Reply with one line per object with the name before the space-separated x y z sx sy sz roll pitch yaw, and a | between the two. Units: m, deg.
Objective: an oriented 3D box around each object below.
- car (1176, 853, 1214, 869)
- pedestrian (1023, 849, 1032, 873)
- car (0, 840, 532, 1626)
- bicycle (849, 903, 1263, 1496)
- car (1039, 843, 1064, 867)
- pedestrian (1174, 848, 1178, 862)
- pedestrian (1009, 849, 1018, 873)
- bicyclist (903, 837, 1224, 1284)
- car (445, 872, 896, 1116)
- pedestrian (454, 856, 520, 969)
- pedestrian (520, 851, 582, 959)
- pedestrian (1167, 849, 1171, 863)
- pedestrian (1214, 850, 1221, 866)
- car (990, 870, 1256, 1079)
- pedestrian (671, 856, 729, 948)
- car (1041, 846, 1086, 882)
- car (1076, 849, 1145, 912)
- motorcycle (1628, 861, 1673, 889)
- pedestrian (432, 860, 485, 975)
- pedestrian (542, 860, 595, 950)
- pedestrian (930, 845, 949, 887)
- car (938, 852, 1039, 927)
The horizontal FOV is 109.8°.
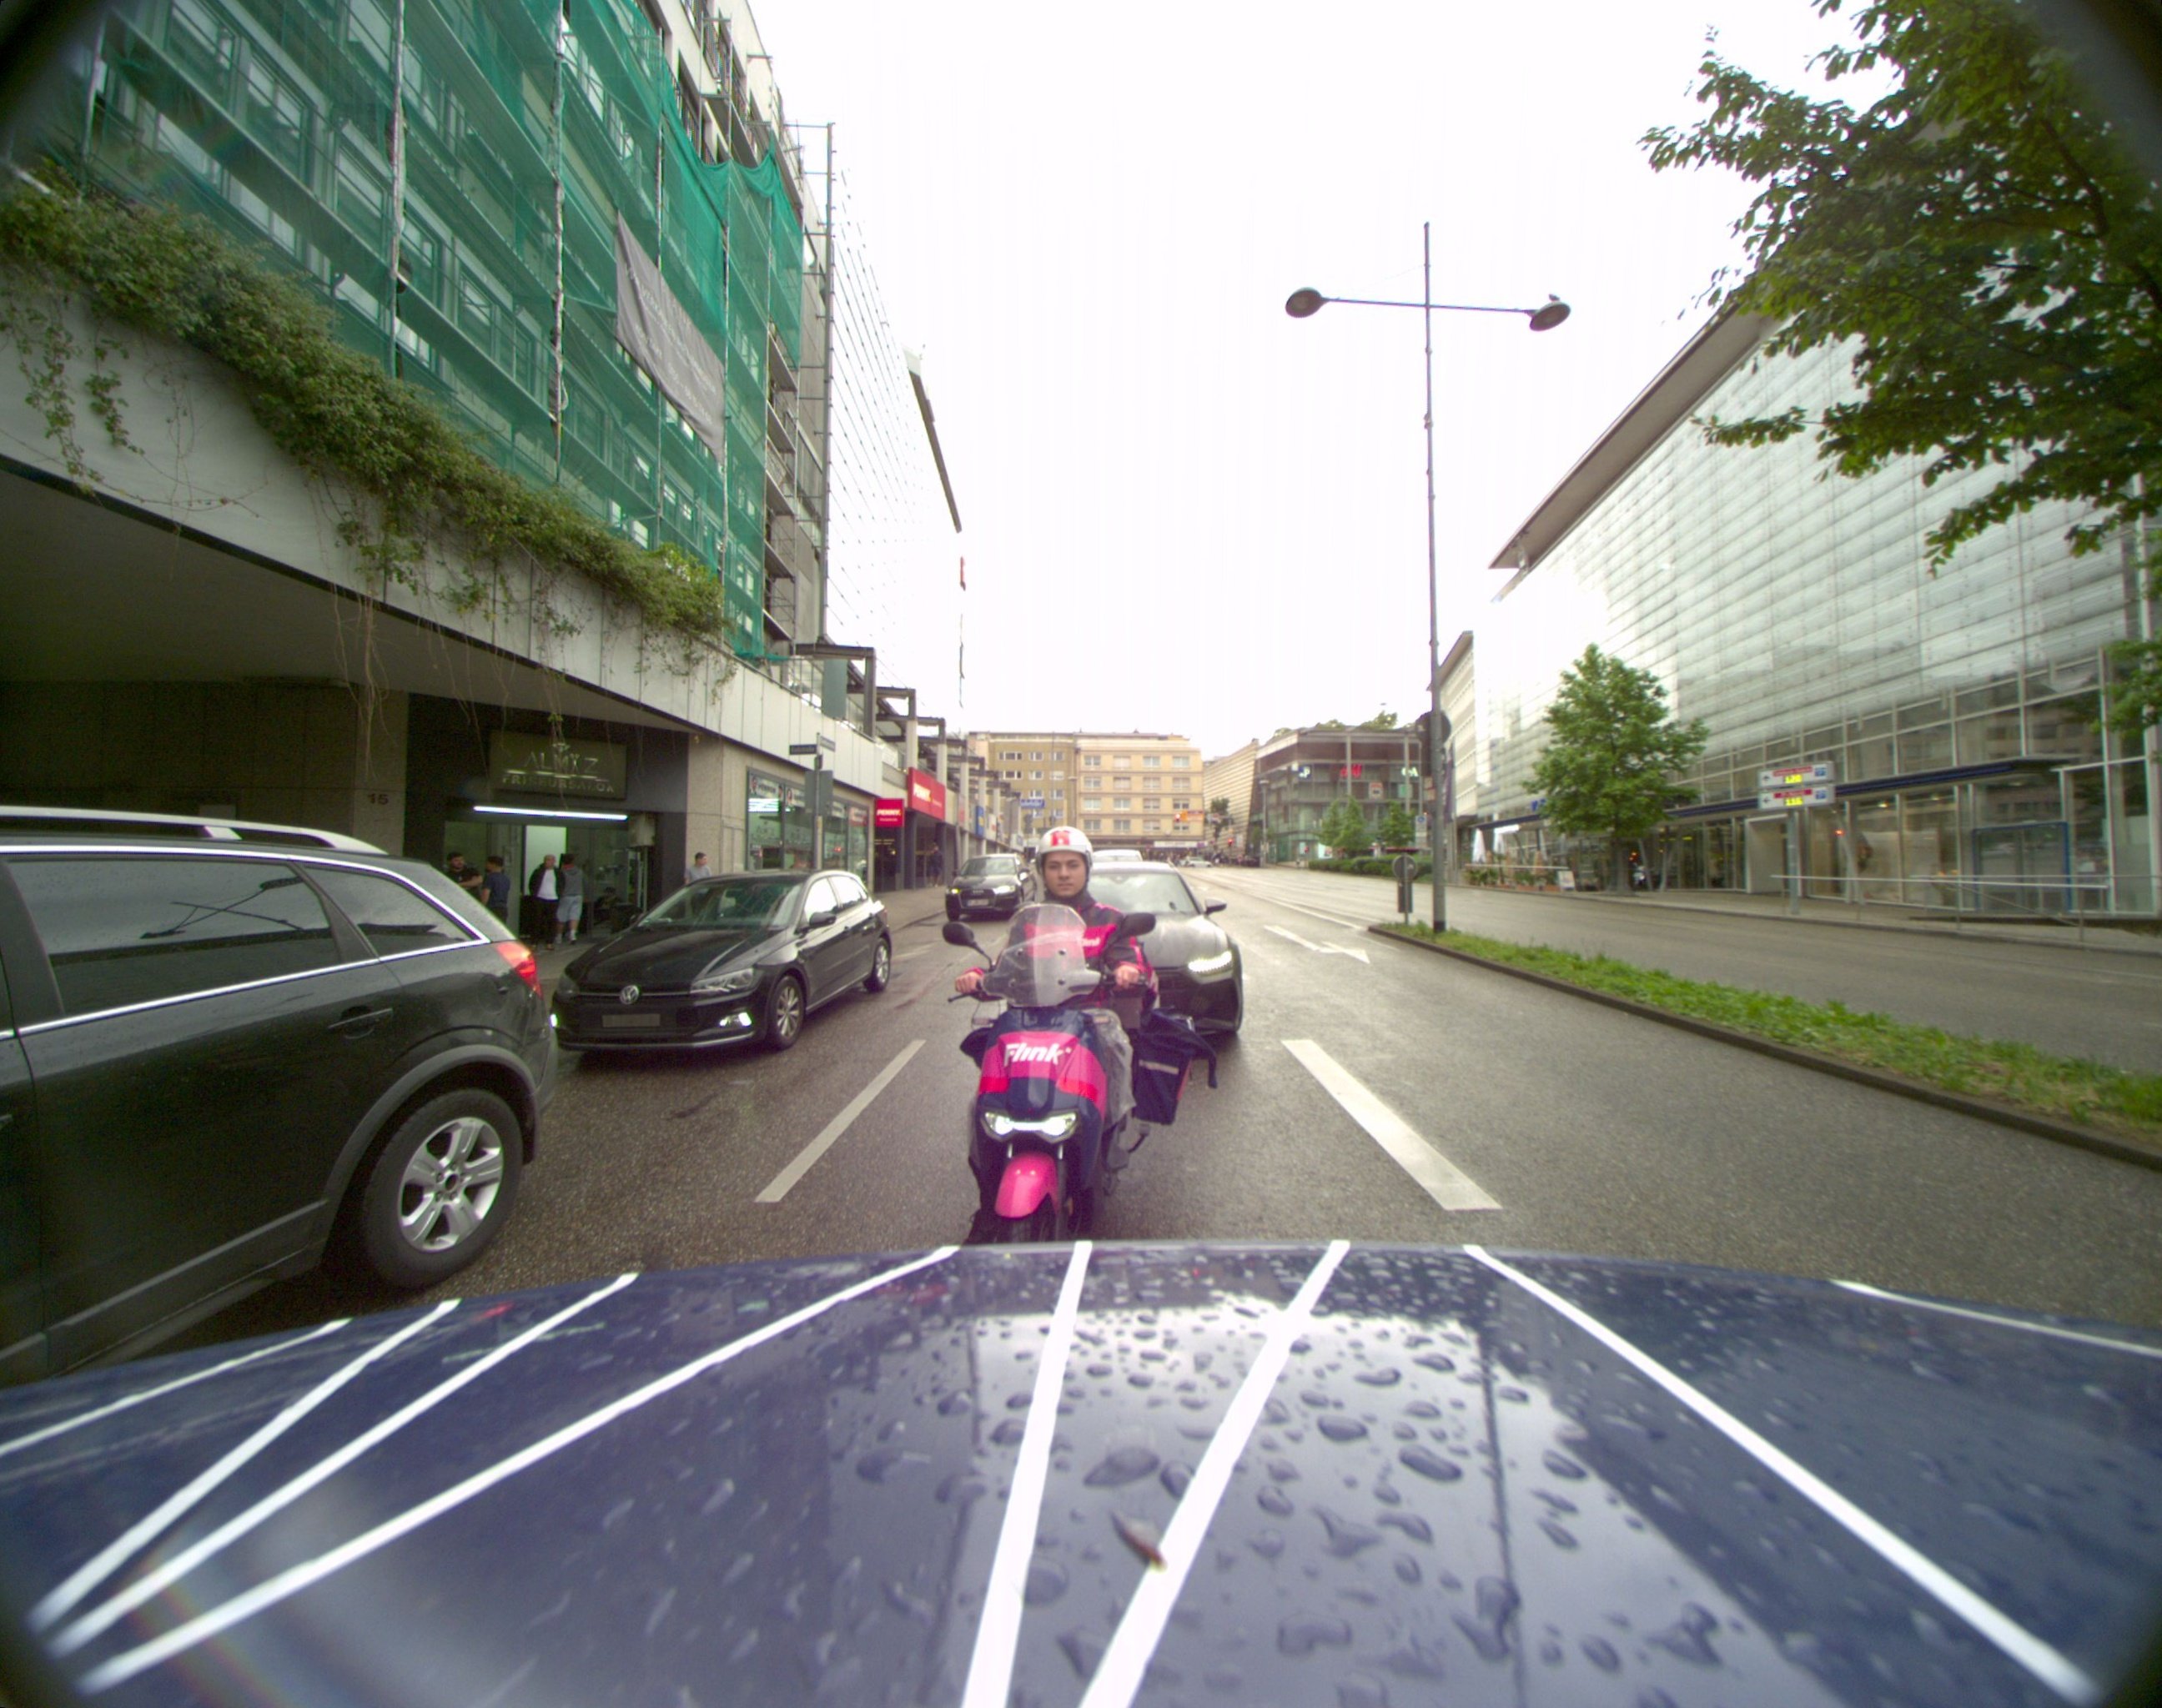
car | 14.697 0.928 97.880 4.595 2.002 1.995 0 1 -30
pedestrian | -3.396 0.419 48.036 0.510 1.492 0.579 0 2 0
car | -3.323 0.870 1.242 1.764 1.755 4.164 -2 0 0
bicycle | -0.046 1.004 3.452 1.034 1.279 2.948 -2 1 1
car | -2.511 0.066 66.189 1.605 2.002 3.400 -2 1 7
pedestrian | 10.883 0.143 86.935 0.428 1.620 0.602 1 1 3
pedestrian | -4.261 0.420 47.766 0.510 1.492 0.579 0 2 0
bicyclist | -0.052 0.718 3.053 1.063 1.534 0.825 -2 2 0
car | -3.216 0.978 7.072 1.759 1.495 4.165 -2 -1 2
pedestrian | -8.825 0.843 11.312 0.640 1.586 0.576 -3 2 -32
pedestrian | -9.213 0.853 13.208 0.771 1.805 0.745 2 2 44
pedestrian | 9.925 0.245 85.351 0.428 1.620 0.602 1 1 5
pedestrian | 15.503 0.457 86.382 0.626 1.764 0.689 -2 2 5
car | 0.390 0.929 7.619 1.890 1.392 4.164 -2 0 2
pedestrian | -7.061 0.869 14.105 0.639 1.633 0.733 -2 2 -3
car | -0.816 0.493 38.951 1.988 1.696 4.165 -2 -1 2
car | 0.836 0.691 21.162 1.675 1.520 4.165 -2 -1 2
motorcycle | 27.935 1.031 37.263 1.707 1.319 0.620 0 1 1
pedestrian | -9.590 0.955 11.711 0.466 1.698 0.484 0 2 42
pedestrian | -9.646 0.941 14.317 0.677 1.618 0.578 0 2 -19
pedestrian | -5.715 0.482 30.664 0.509 1.669 0.581 1 2 28
car | -2.212 0.804 19.311 1.841 1.598 4.164 -2 1 2
